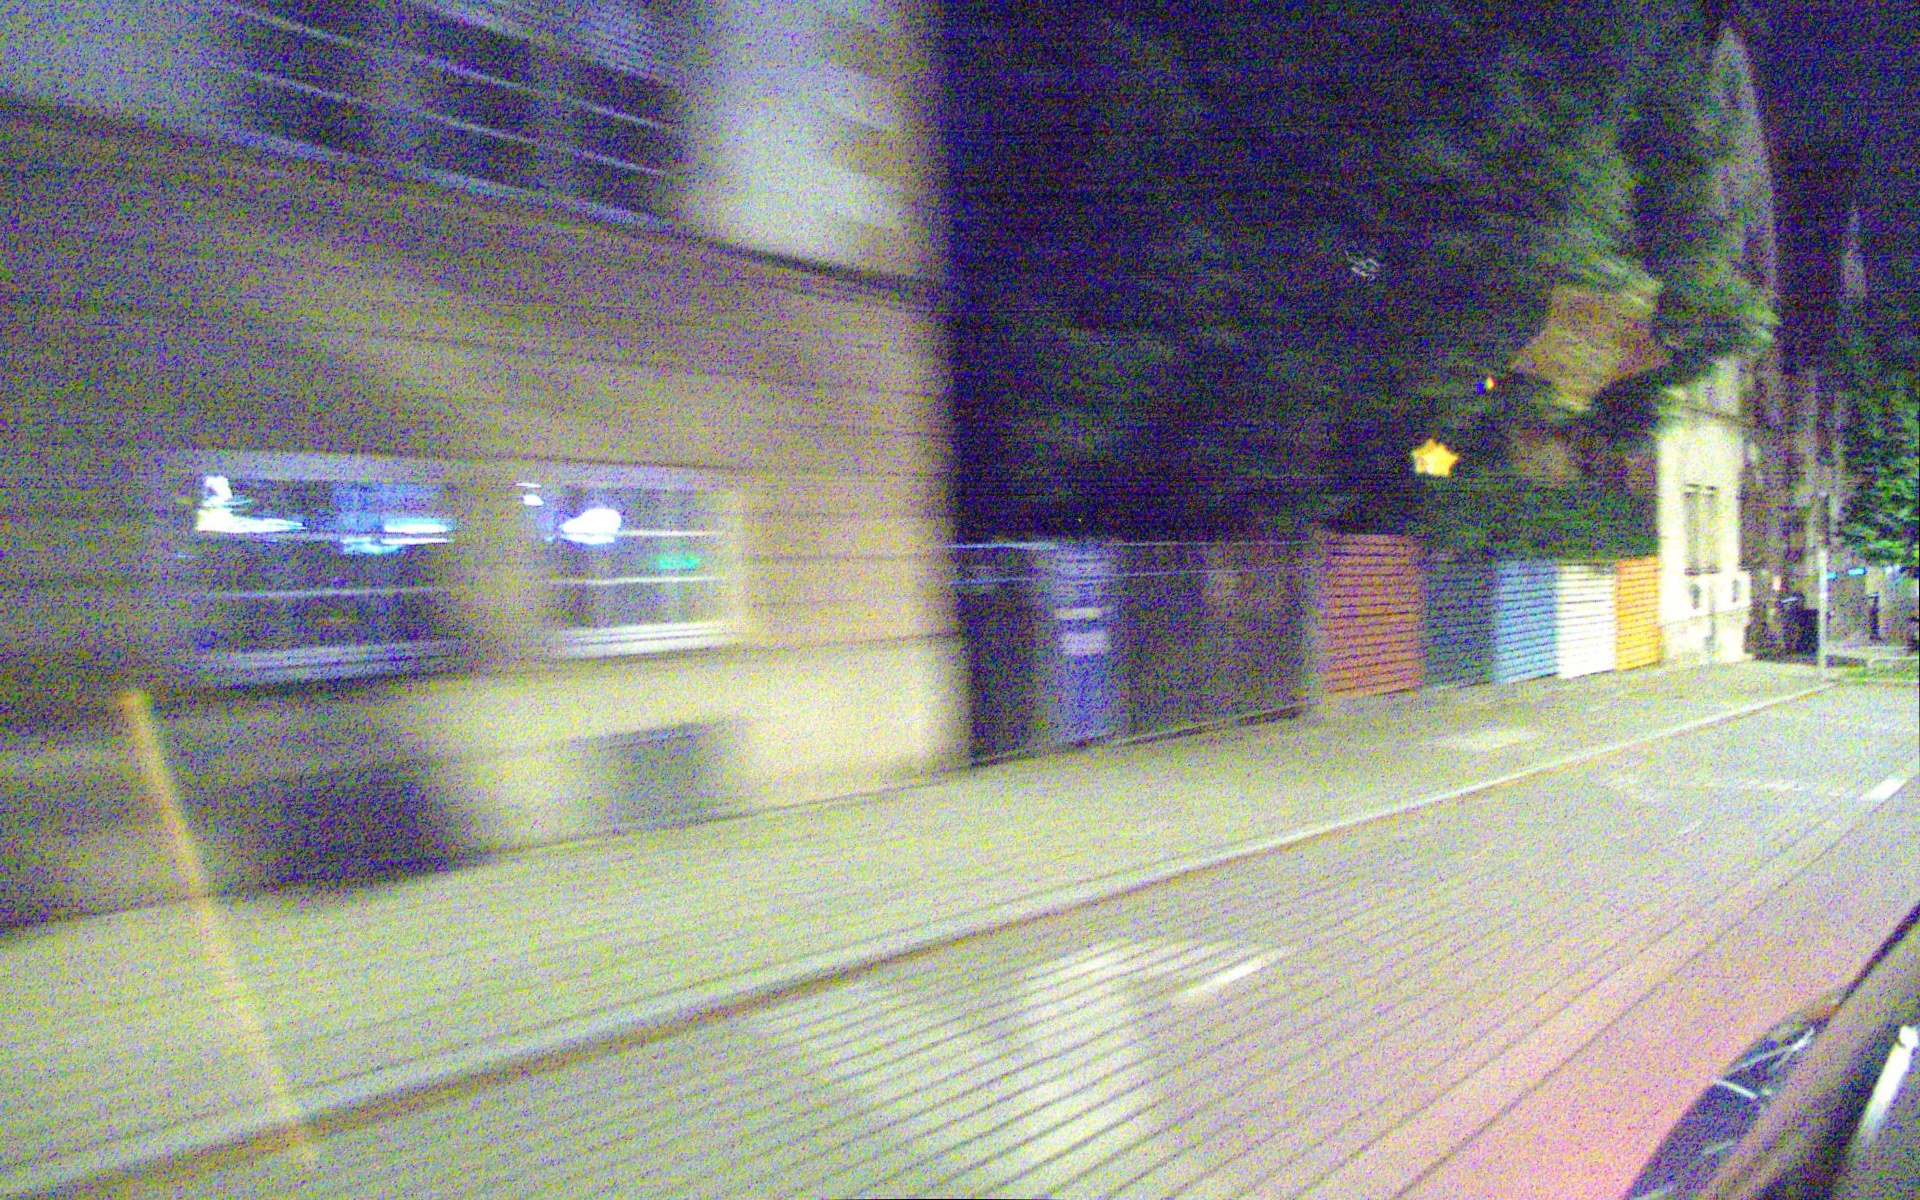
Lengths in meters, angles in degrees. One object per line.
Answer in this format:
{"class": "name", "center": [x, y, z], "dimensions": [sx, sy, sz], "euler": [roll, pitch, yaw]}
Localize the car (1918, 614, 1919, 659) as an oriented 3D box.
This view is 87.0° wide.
{"class": "car", "center": [21.953, 0.523, 21.555], "dimensions": [4.007, 1.494, 1.767], "euler": [0, 2, -40]}
